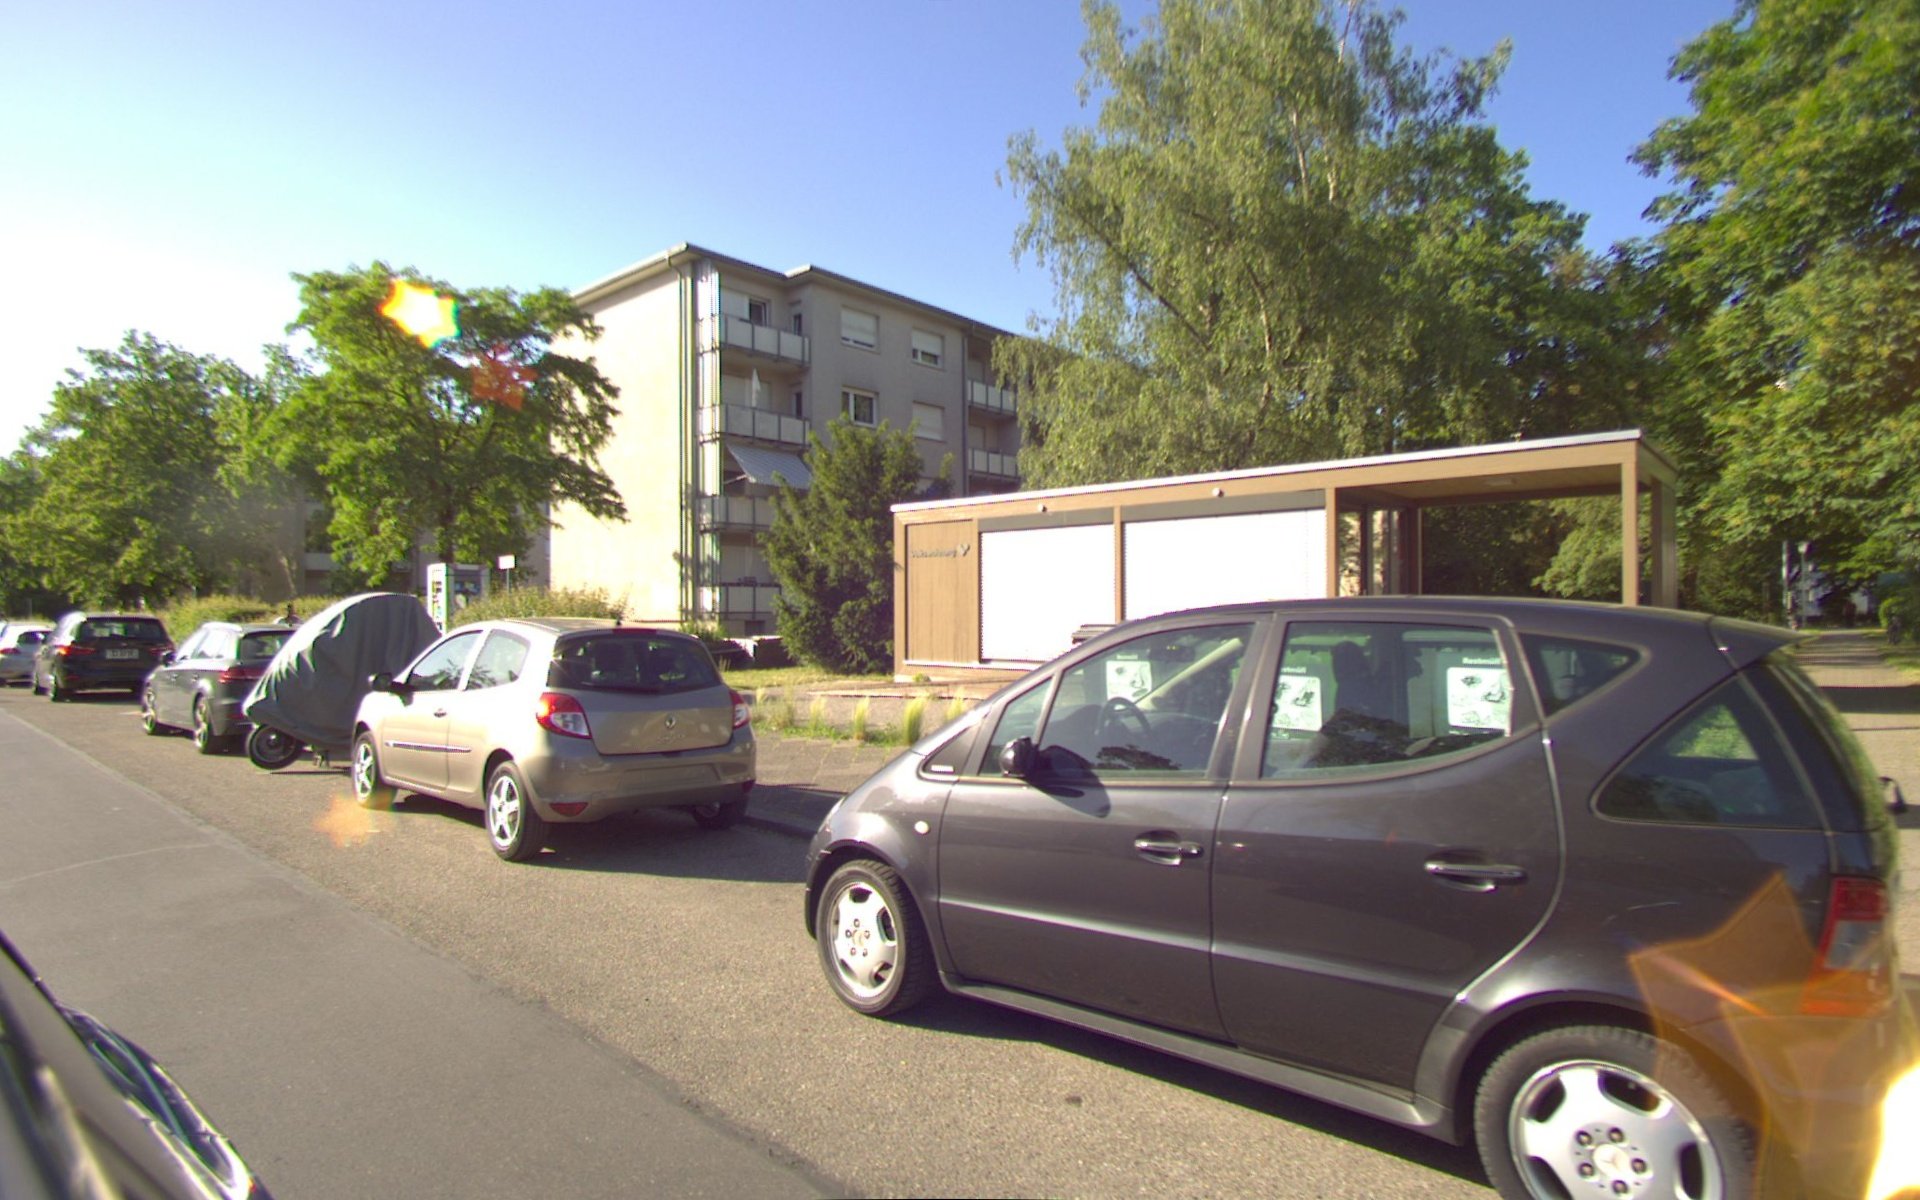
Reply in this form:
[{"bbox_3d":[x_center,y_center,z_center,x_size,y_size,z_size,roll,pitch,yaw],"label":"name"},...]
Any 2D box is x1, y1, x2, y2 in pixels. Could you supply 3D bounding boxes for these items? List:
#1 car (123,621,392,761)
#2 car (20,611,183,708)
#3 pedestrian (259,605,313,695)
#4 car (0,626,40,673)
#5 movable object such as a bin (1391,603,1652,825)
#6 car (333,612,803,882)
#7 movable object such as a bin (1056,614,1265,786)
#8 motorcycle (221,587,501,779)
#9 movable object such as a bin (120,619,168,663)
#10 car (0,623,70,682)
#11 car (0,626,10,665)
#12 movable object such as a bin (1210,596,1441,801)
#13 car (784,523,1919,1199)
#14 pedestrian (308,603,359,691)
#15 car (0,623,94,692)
[{"bbox_3d":[-8.774,1.009,12.495,4.267,1.432,1.735,-1,-3,42],"label":"car"},{"bbox_3d":[-16.529,1.089,19.409,4.369,1.648,1.735,-1,-3,42],"label":"car"},{"bbox_3d":[-12.917,0.942,19.396,0.616,1.692,0.713,-1,-1,41],"label":"pedestrian"},{"bbox_3d":[-31.337,1.592,32.937,3.493,1.475,1.631,-1,-3,41],"label":"car"},{"bbox_3d":[3.937,0.715,7.102,1.343,1.350,1.165,-2,-1,43],"label":"movable object such as a bin"},{"bbox_3d":[-3.113,0.886,7.618,3.959,1.492,1.735,-1,-3,43],"label":"car"},{"bbox_3d":[1.721,0.790,8.688,1.343,1.297,1.165,-2,-1,42],"label":"movable object such as a bin"},{"bbox_3d":[-6.060,0.813,10.378,0.931,1.740,2.234,-1,-3,38],"label":"motorcycle"},{"bbox_3d":[-28.101,1.411,34.839,1.325,1.425,0.992,-1,2,40],"label":"movable object such as a bin"},{"bbox_3d":[-25.833,1.418,27.701,4.901,1.501,1.735,-2,-4,44],"label":"car"},{"bbox_3d":[-37.107,1.668,37.905,4.672,1.396,1.736,-1,-2,41],"label":"car"},{"bbox_3d":[2.862,0.698,7.935,1.343,1.418,1.165,-2,-1,42],"label":"movable object such as a bin"},{"bbox_3d":[1.295,0.706,3.422,3.717,1.586,1.736,-1,-3,40],"label":"car"},{"bbox_3d":[-12.360,0.913,19.961,0.599,1.692,0.713,-1,-1,41],"label":"pedestrian"},{"bbox_3d":[-21.654,1.289,23.611,4.211,1.436,1.735,-1,-3,44],"label":"car"}]
